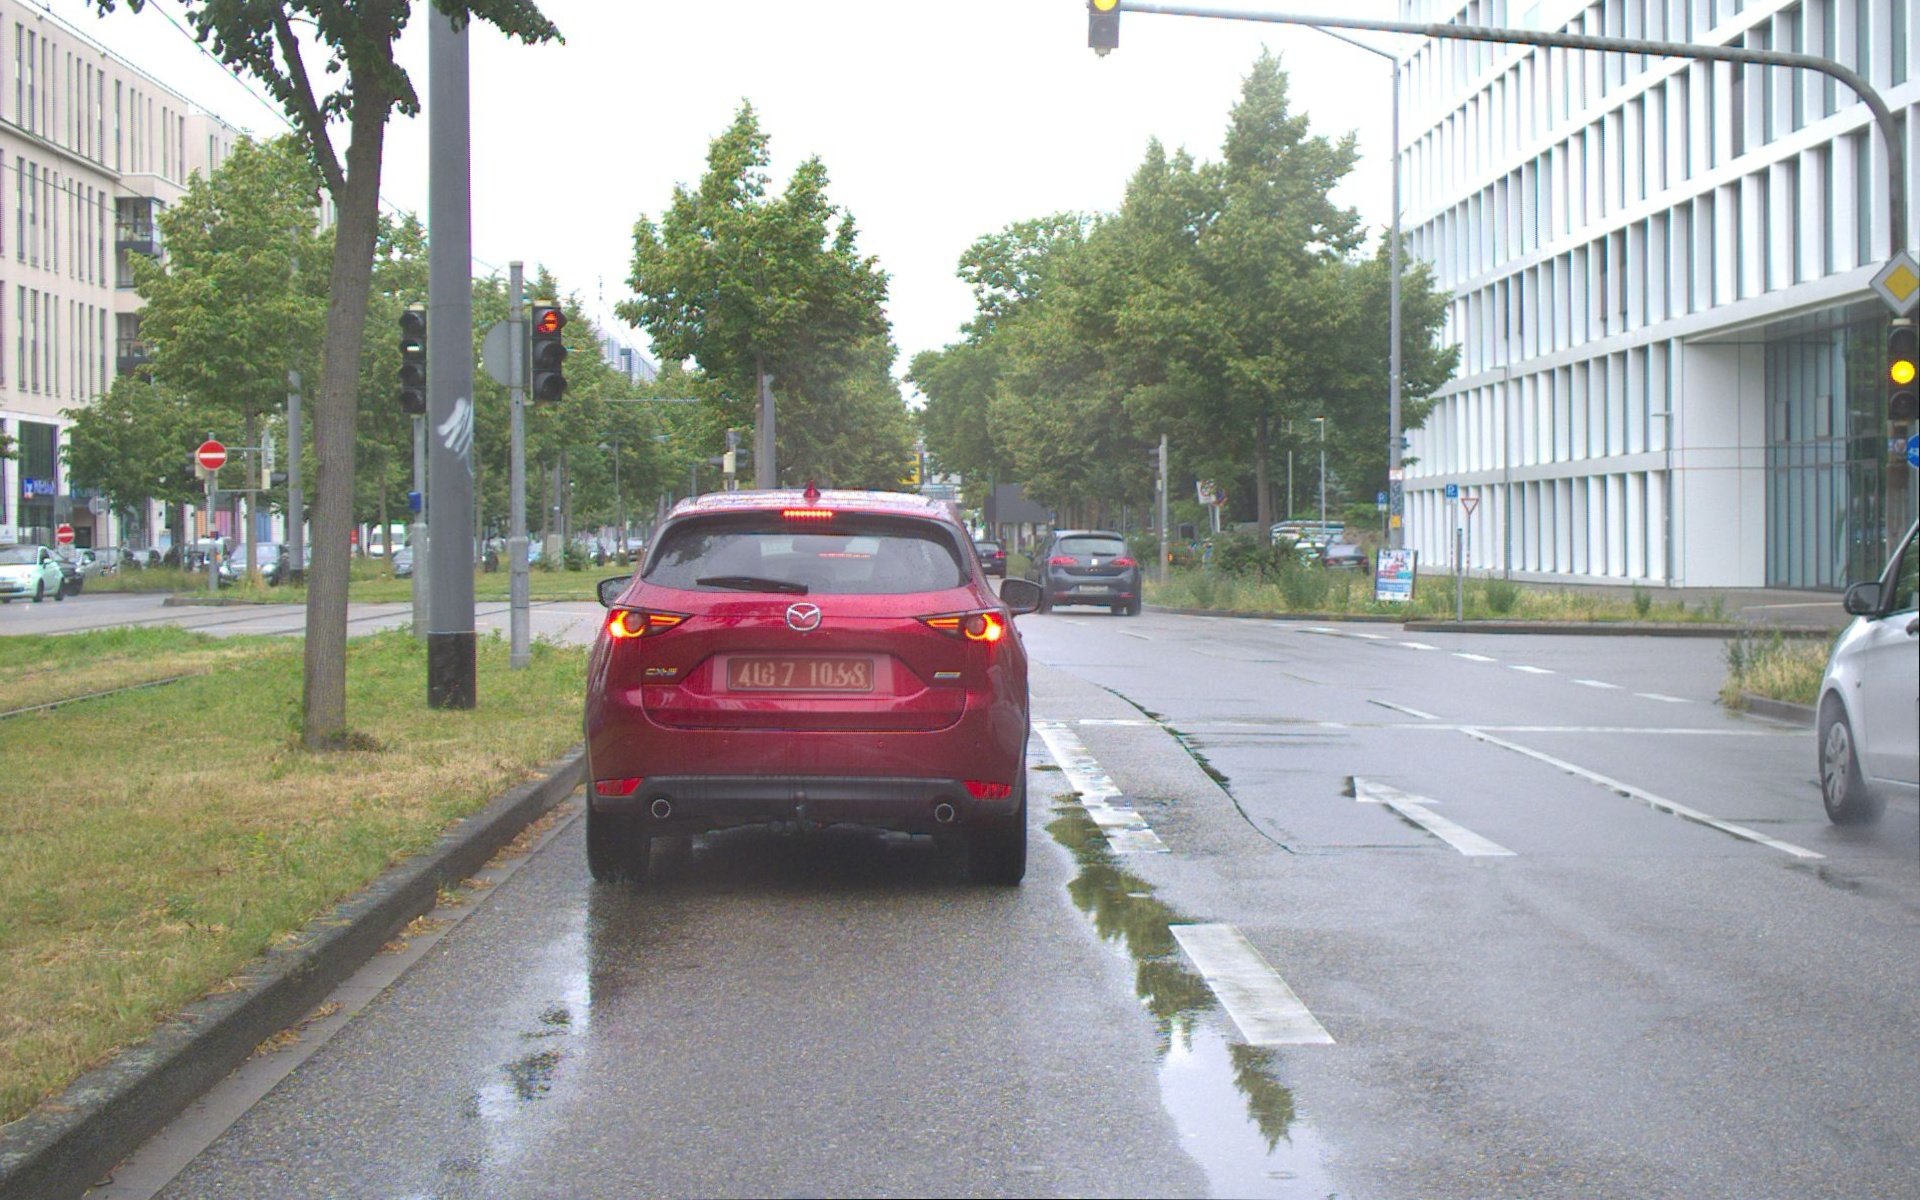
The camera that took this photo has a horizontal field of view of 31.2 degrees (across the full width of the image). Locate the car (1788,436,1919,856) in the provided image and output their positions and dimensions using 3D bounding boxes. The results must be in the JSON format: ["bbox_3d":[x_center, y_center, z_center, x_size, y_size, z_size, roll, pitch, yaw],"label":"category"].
[{"bbox_3d":[5.496,0.226,15.951,1.967,1.972,5.092,1,1,-1],"label":"car"}]

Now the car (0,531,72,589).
[{"bbox_3d":[-24.559,-1.064,89.632,1.993,1.479,4.446,0,1,-5],"label":"car"}]

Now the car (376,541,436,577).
[{"bbox_3d":[-23.953,-1.791,148.677,1.993,1.479,4.446,0,1,-2],"label":"car"}]

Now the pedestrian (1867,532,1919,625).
[{"bbox_3d":[17.196,-0.405,63.303,0.677,1.701,0.784,0,1,-8],"label":"pedestrian"}]

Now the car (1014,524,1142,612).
[{"bbox_3d":[2.012,-0.584,59.461,1.743,1.460,3.782,0,1,-5],"label":"car"}]

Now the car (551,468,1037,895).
[{"bbox_3d":[-0.699,0.274,15.500,1.898,1.671,4.001,0,1,-1],"label":"car"}]

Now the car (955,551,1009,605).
[{"bbox_3d":[0.841,-0.874,132.195,1.993,2.007,4.000,0,1,-1],"label":"car"}]

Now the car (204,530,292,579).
[{"bbox_3d":[-22.134,-1.439,106.990,1.993,1.479,4.446,0,1,-2],"label":"car"}]

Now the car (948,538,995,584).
[{"bbox_3d":[0.502,-1.736,151.763,1.993,2.007,4.000,0,1,-1],"label":"car"}]
